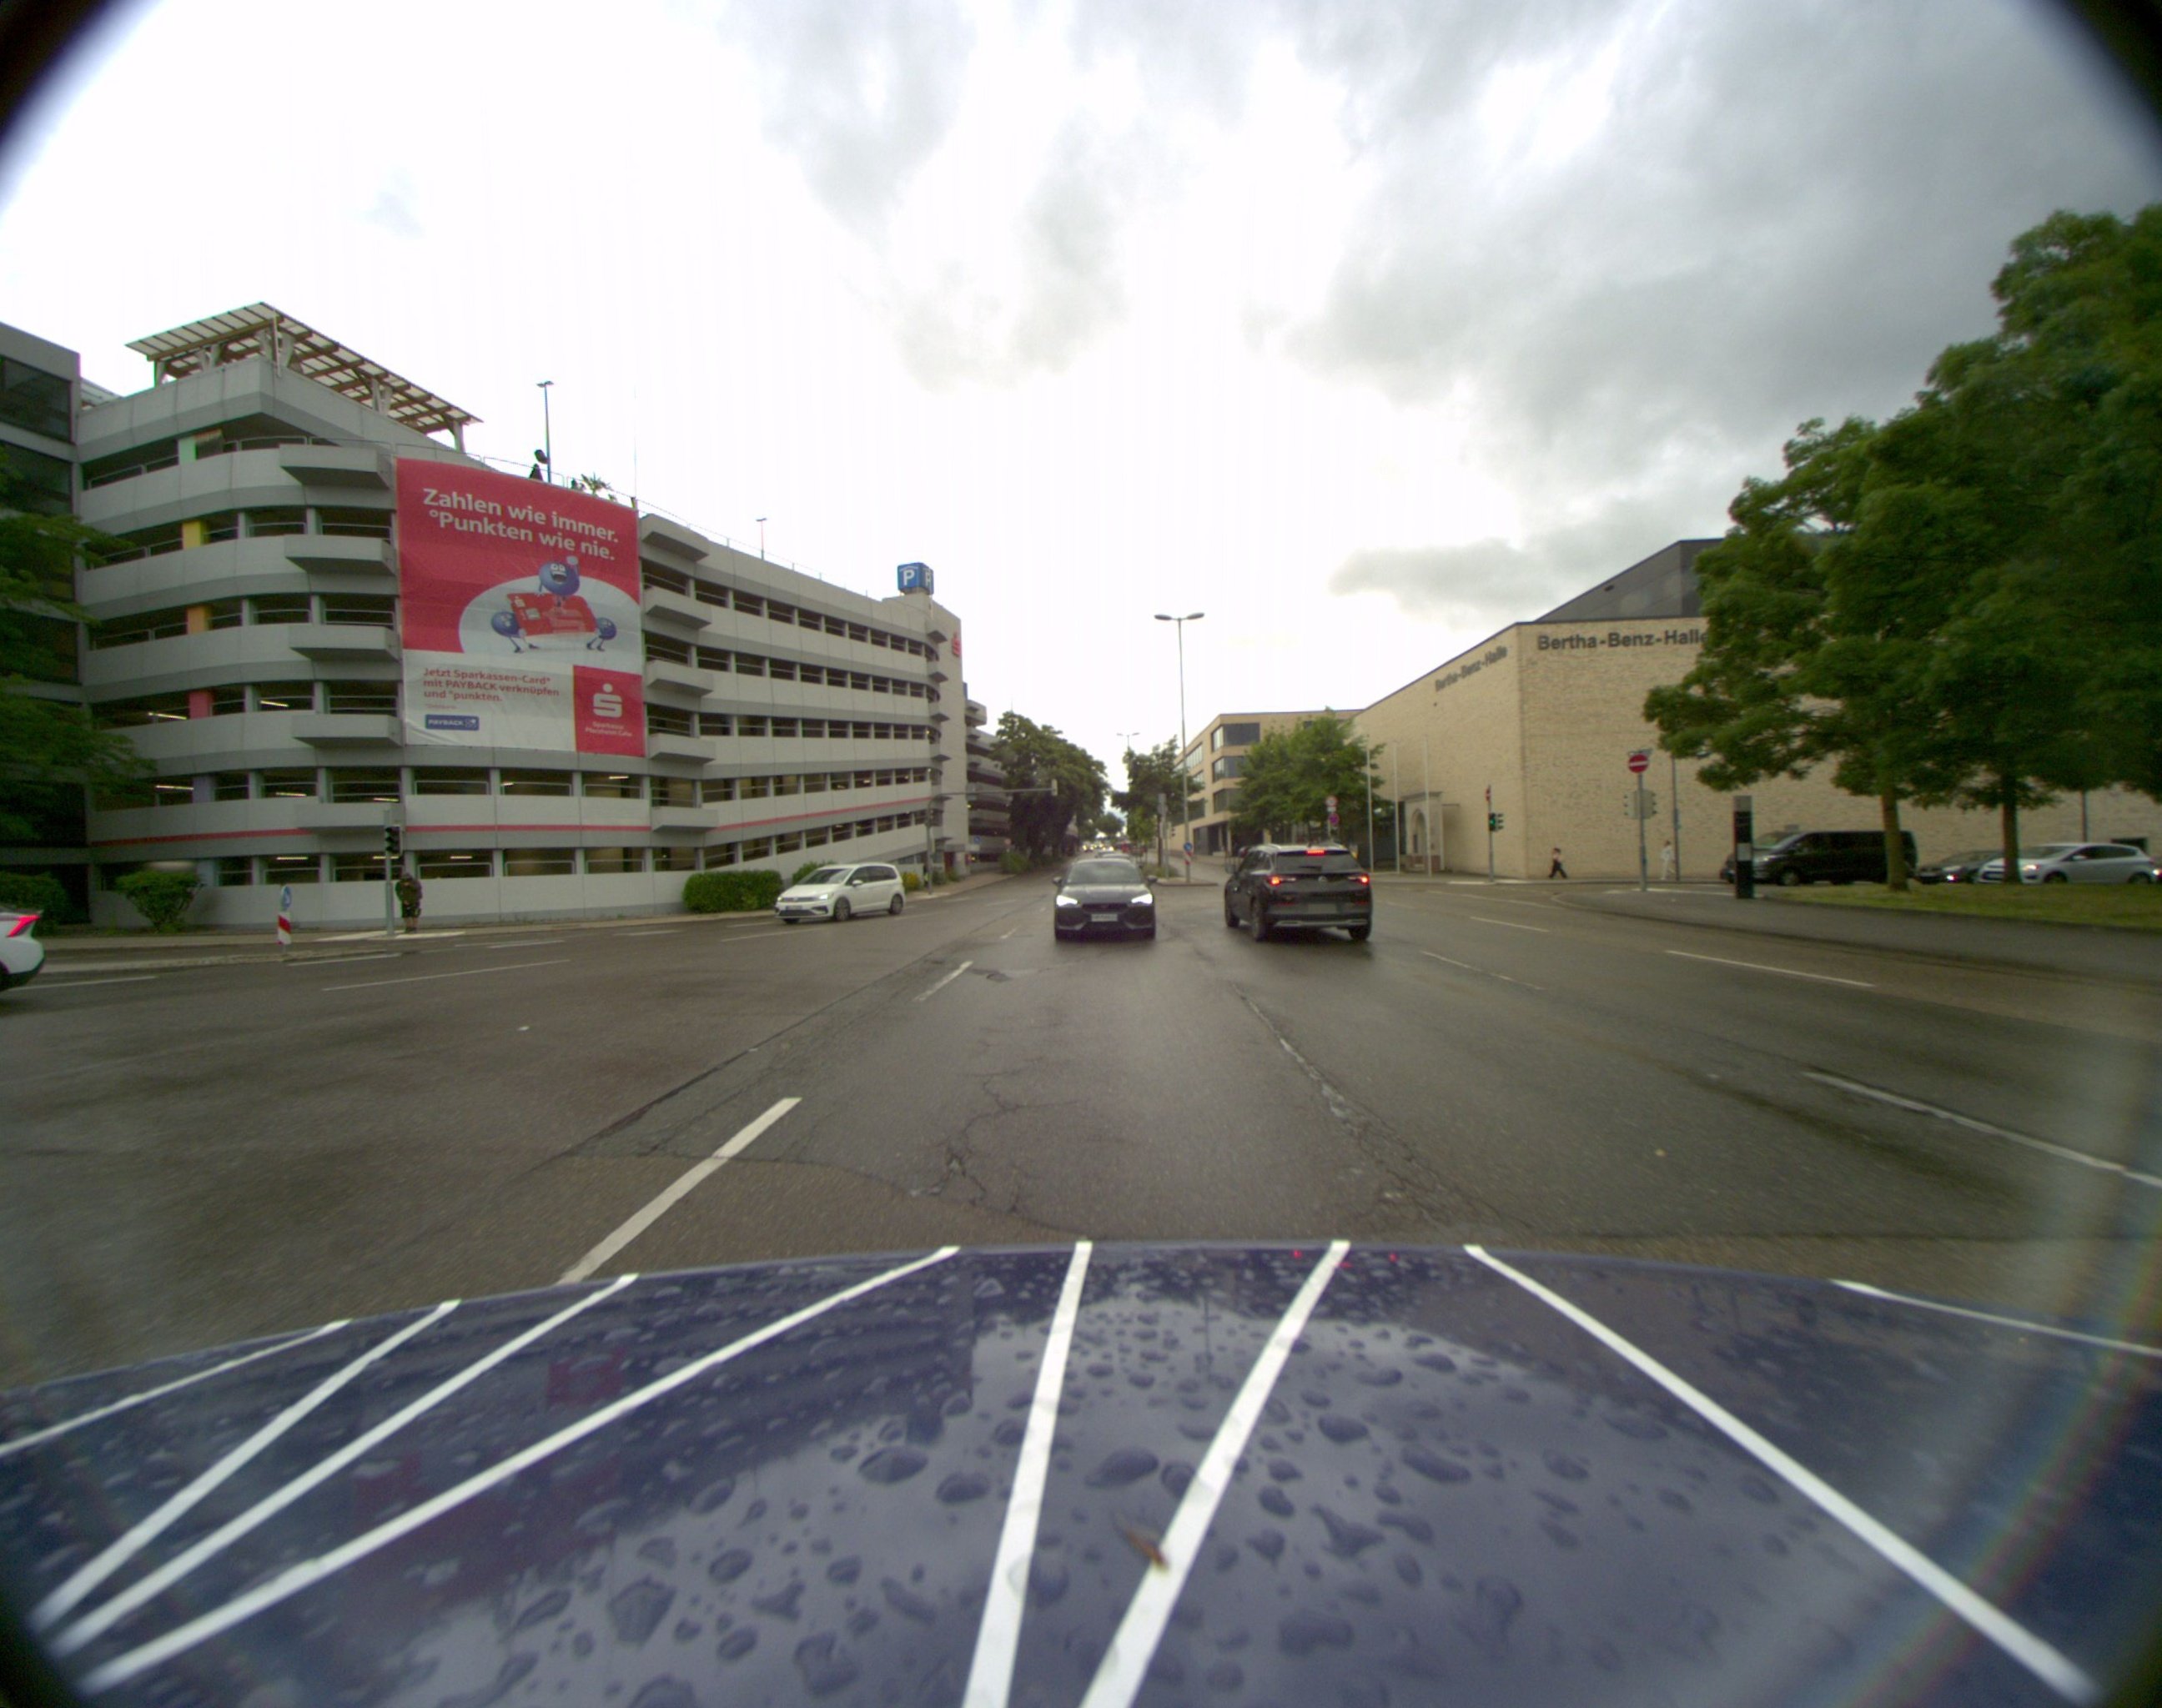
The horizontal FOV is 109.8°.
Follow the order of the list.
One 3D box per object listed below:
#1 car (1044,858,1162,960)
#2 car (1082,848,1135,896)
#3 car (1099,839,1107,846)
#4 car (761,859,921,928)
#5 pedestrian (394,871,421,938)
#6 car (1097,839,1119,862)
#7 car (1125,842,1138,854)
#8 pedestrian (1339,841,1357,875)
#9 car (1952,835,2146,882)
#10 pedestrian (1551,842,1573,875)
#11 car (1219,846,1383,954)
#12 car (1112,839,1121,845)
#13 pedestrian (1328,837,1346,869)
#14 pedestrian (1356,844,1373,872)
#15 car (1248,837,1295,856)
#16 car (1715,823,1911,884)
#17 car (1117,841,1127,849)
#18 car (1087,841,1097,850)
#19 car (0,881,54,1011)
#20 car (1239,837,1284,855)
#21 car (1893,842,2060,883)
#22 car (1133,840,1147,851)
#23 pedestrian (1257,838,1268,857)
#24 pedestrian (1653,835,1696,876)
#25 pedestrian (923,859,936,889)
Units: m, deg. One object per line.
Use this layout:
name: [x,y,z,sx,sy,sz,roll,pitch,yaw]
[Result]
car: [0.280,0.864,13.975,1.739,1.380,4.581,-4,1,-2]
car: [1.167,0.661,30.333,1.845,1.647,4.001,-4,1,4]
car: [5.800,-2.991,196.985,1.998,1.716,4.400,-2,0,1]
car: [-6.779,1.064,21.997,1.995,1.716,4.406,-2,0,22]
pedestrian: [-19.413,1.438,21.915,0.546,1.879,0.506,1,0,-39]
car: [2.408,-0.302,67.302,1.804,1.818,3.949,-4,0,3]
car: [8.617,-1.021,129.314,1.855,1.842,4.300,1,1,-1]
pedestrian: [13.973,0.198,39.713,0.595,1.761,0.692,-4,1,0]
car: [32.908,0.127,25.927,3.997,1.449,2.000,1,1,1]
pedestrian: [20.985,0.186,33.158,0.622,1.368,0.475,-4,1,2]
car: [3.712,0.676,13.638,1.812,1.585,4.295,-2,1,2]
car: [9.287,-3.070,197.008,2.028,1.598,4.300,1,1,-1]
pedestrian: [14.298,-0.057,42.450,0.595,1.721,0.692,-4,1,-3]
pedestrian: [15.348,0.217,41.163,0.595,1.508,0.692,-4,1,0]
car: [18.265,-0.752,72.989,3.995,1.576,2.000,-4,1,5]
car: [25.042,-0.030,26.119,4.789,1.914,1.999,1,1,-2]
car: [8.587,-1.923,159.955,1.675,1.598,4.300,1,1,-1]
car: [2.220,-1.639,156.215,1.998,1.716,4.400,-2,0,1]
car: [-13.890,1.150,7.431,1.802,1.469,4.215,-4,-1,23]
car: [17.909,-0.814,75.478,3.995,1.576,2.000,-4,1,5]
car: [34.348,0.300,29.239,3.997,1.449,2.000,1,1,1]
car: [8.459,-1.234,109.130,1.675,1.461,4.300,0,1,-1]
pedestrian: [16.631,-0.600,69.798,0.803,1.638,0.976,-4,1,8]
pedestrian: [25.359,0.055,32.473,1.113,1.690,0.807,-4,1,-1]
pedestrian: [-8.685,1.139,43.556,0.584,1.650,0.519,1,3,18]
